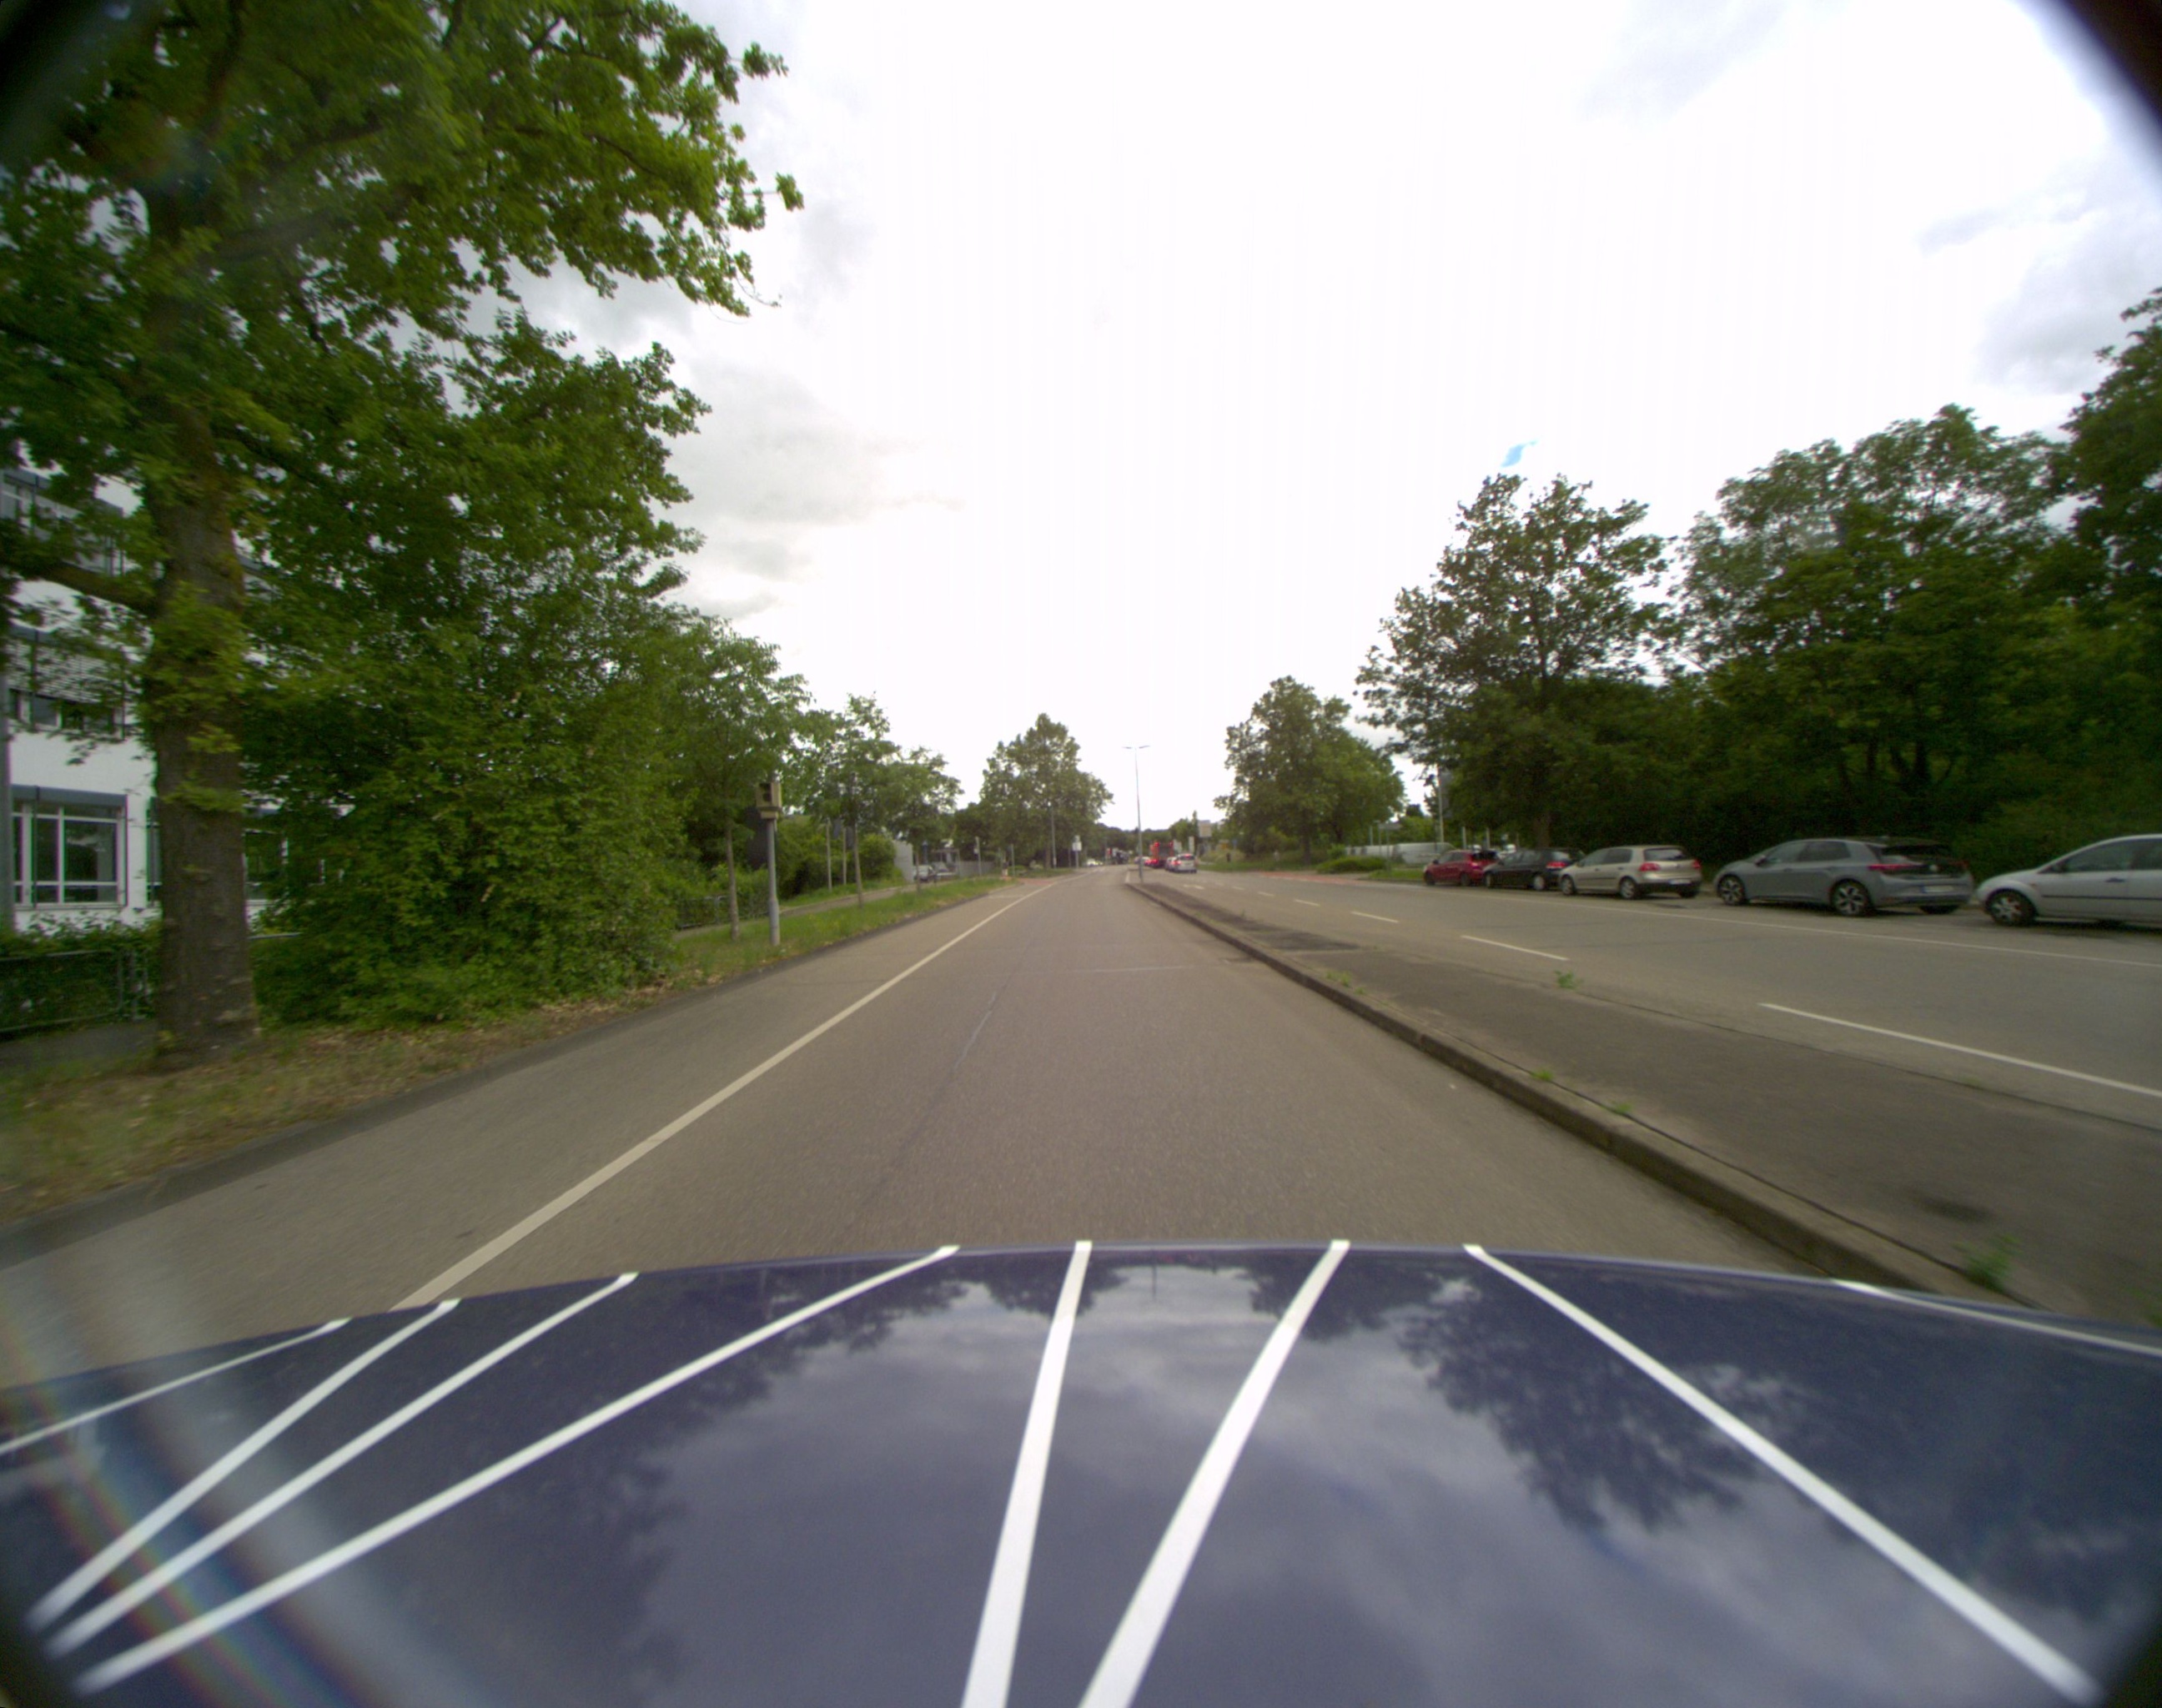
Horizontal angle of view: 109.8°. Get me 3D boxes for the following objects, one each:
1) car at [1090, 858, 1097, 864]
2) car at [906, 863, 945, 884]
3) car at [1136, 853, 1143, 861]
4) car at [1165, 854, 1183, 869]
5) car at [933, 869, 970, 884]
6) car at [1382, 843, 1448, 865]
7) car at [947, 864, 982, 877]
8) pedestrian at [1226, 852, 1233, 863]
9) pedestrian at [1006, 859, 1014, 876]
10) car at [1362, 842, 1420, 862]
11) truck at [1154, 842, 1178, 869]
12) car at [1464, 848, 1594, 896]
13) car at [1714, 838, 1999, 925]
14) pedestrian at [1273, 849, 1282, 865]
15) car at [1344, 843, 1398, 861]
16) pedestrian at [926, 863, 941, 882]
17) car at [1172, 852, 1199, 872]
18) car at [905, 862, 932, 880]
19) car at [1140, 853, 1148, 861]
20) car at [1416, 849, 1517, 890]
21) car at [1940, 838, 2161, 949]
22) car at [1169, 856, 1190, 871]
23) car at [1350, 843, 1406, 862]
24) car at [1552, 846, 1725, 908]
[{"bbox_3d":[3.164,1.816,189.931,1.592,1.480,3.583,-2,0,0],"label":"car"},{"bbox_3d":[-12.133,1.473,59.551,1.851,1.408,4.981,-4,0,1],"label":"car"},{"bbox_3d":[13.053,0.686,169.081,1.591,1.608,3.585,-2,0,4],"label":"car"},{"bbox_3d":[10.585,0.867,86.837,1.639,1.553,3.351,-2,0,1],"label":"car"},{"bbox_3d":[-16.036,2.763,94.389,4.188,1.439,1.819,-5,-1,-1],"label":"car"},{"bbox_3d":[30.888,-0.012,70.341,5.298,2.002,2.011,-1,1,-1],"label":"car"},{"bbox_3d":[-15.234,2.173,99.494,4.188,1.439,1.819,-5,-1,-1],"label":"car"},{"bbox_3d":[19.924,0.505,101.740,0.757,1.438,0.639,-3,1,0],"label":"pedestrian"},{"bbox_3d":[-7.155,1.372,76.661,0.734,1.717,0.501,-1,1,-3],"label":"pedestrian"},{"bbox_3d":[31.940,-0.201,78.445,5.297,2.002,1.739,-1,1,1],"label":"car"},{"bbox_3d":[11.441,0.169,103.206,2.831,3.460,7.825,-2,0,4],"label":"truck"},{"bbox_3d":[15.930,0.592,27.267,1.881,1.498,3.997,-3,0,-9],"label":"car"},{"bbox_3d":[15.848,0.521,15.892,1.880,1.498,4.001,-3,0,2],"label":"car"},{"bbox_3d":[21.889,0.292,84.523,0.757,1.727,0.638,-3,1,-8],"label":"pedestrian"},{"bbox_3d":[32.017,-0.227,84.040,5.298,2.002,1.739,-1,1,-1],"label":"car"},{"bbox_3d":[-12.345,1.556,63.591,0.942,1.557,0.813,0,1,14],"label":"pedestrian"},{"bbox_3d":[9.963,0.744,72.557,1.833,1.759,4.406,-3,0,0],"label":"car"},{"bbox_3d":[-22.077,2.279,102.970,2.119,2.261,4.474,-2,-1,-31],"label":"car"},{"bbox_3d":[13.502,0.618,163.225,1.591,1.608,3.585,-2,0,4],"label":"car"},{"bbox_3d":[15.885,0.627,31.530,1.881,1.498,3.886,-3,0,-6],"label":"car"},{"bbox_3d":[15.739,0.526,11.115,1.879,1.498,4.001,-2,0,2],"label":"car"},{"bbox_3d":[10.221,0.926,78.800,1.733,1.477,4.123,-1,0,1],"label":"car"},{"bbox_3d":[31.877,-0.170,81.619,5.298,2.002,1.739,-1,1,-1],"label":"car"},{"bbox_3d":[15.698,0.599,21.711,1.880,1.498,4.056,-3,0,0],"label":"car"}]
